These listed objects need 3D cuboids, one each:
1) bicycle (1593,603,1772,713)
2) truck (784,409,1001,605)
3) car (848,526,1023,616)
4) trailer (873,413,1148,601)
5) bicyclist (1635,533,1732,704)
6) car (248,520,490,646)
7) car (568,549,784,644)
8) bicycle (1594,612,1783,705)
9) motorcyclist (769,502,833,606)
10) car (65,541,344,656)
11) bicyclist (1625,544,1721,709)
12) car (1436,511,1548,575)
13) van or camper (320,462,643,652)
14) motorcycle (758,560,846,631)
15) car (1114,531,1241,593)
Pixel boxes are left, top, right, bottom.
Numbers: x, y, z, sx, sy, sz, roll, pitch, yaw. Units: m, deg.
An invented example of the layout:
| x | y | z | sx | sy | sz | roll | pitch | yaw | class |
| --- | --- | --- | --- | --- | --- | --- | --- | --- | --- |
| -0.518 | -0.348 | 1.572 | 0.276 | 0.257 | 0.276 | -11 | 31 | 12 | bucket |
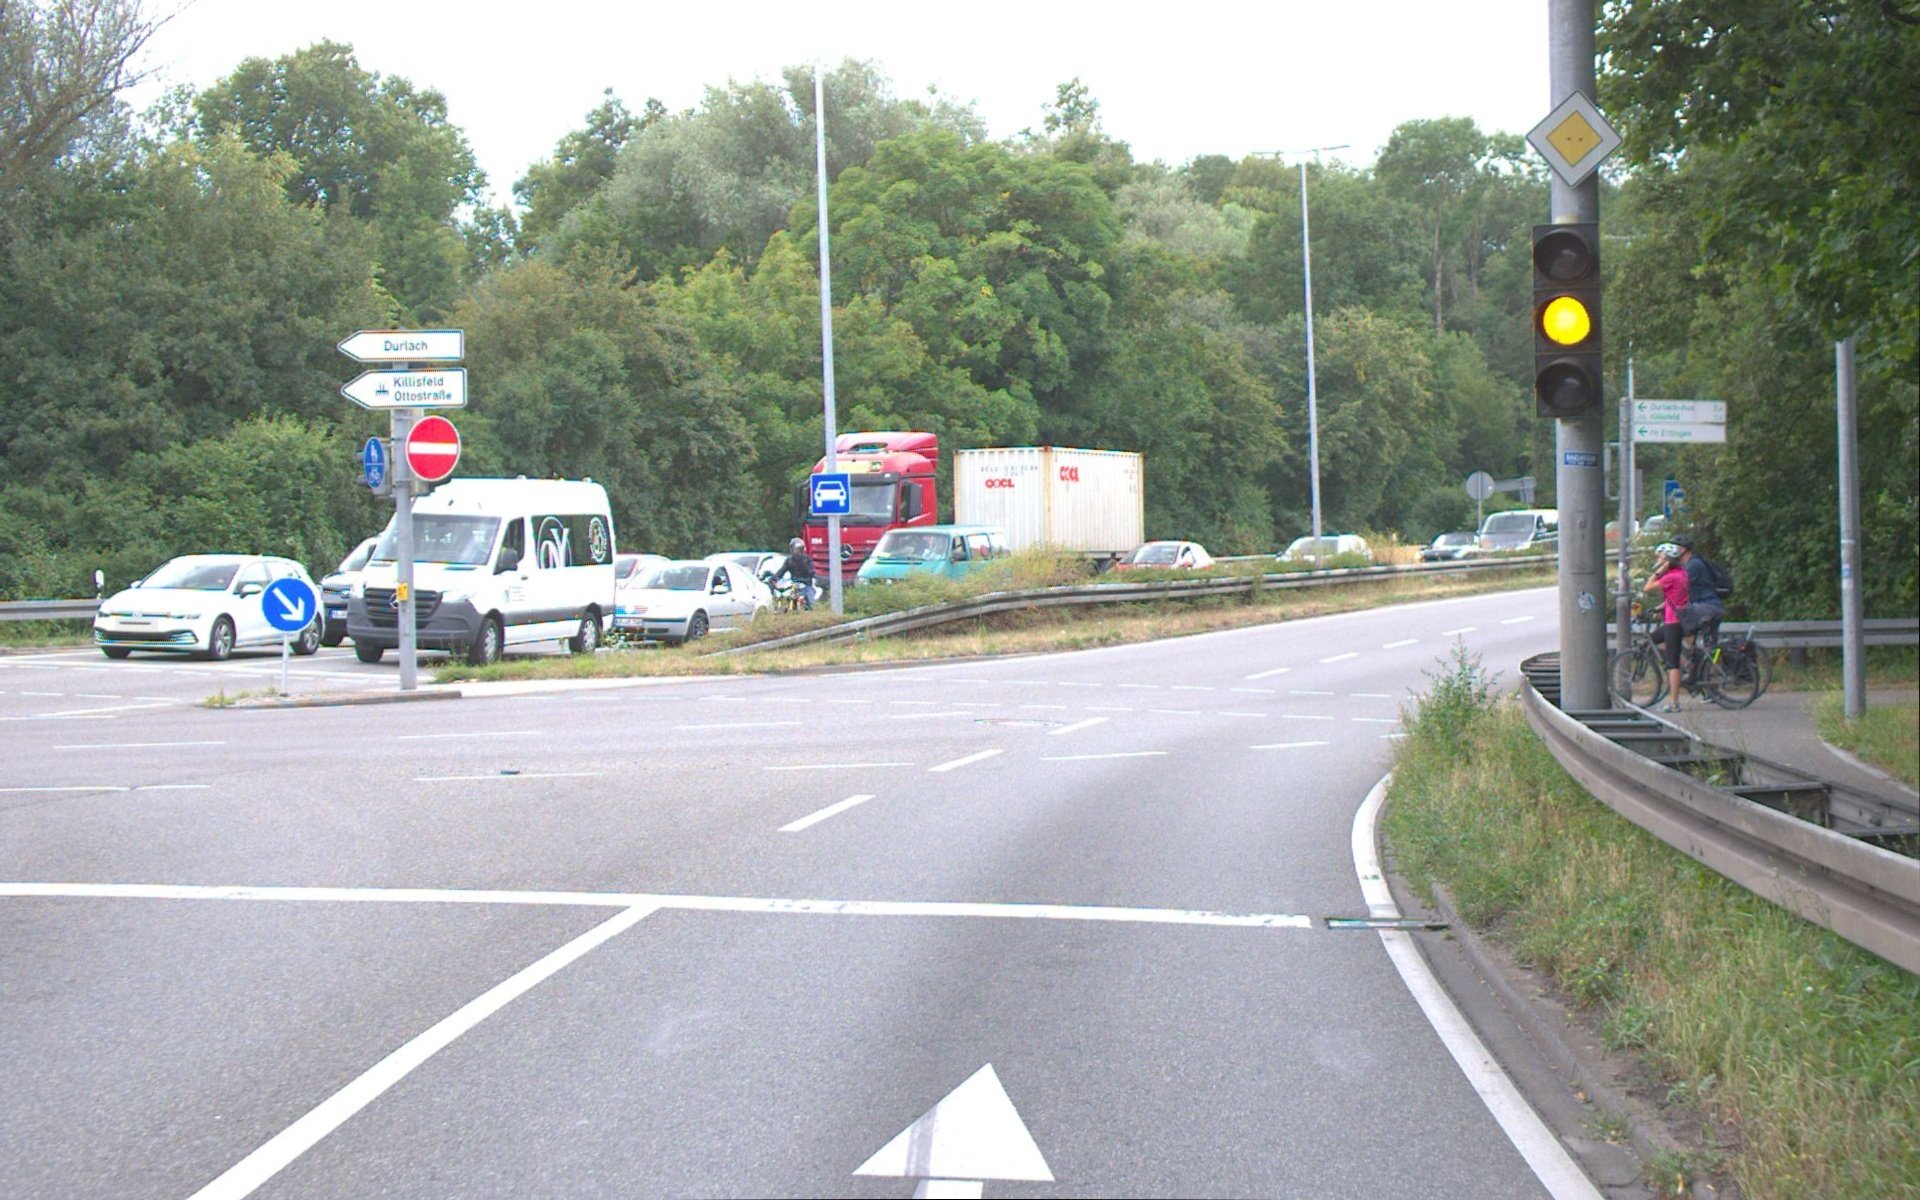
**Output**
| x | y | z | sx | sy | sz | roll | pitch | yaw | class |
| --- | --- | --- | --- | --- | --- | --- | --- | --- | --- |
| 7.657 | 0.616 | 36.443 | 1.744 | 1.134 | 0.630 | -1 | 0 | 26 | bicycle |
| -1.399 | -1.975 | 74.639 | 2.571 | 4.069 | 5.616 | 0 | 1 | 24 | truck |
| -0.431 | -0.598 | 68.560 | 1.806 | 1.723 | 4.955 | 0 | 1 | 21 | car |
| 1.365 | -2.126 | 80.935 | 2.538 | 4.133 | 10.758 | 0 | 1 | 24 | trailer |
| 7.966 | 0.201 | 37.871 | 0.949 | 1.837 | 0.664 | -2 | 0 | 9 | bicyclist |
| -9.245 | -0.292 | 54.129 | 1.995 | 1.896 | 4.163 | 0 | 1 | 19 | car |
| -4.608 | -0.084 | 56.431 | 1.995 | 1.493 | 4.396 | 0 | 1 | 18 | car |
| 8.009 | 0.645 | 37.852 | 1.972 | 0.938 | 0.661 | -2 | 0 | 10 | bicycle |
| -2.790 | -0.813 | 60.345 | 0.866 | 1.817 | 0.924 | 0 | 1 | 17 | motorcyclist |
| -10.662 | -0.056 | 48.842 | 1.995 | 1.541 | 4.535 | 0 | 1 | 15 | car |
| 7.566 | 0.277 | 36.481 | 0.852 | 1.726 | 0.636 | -1 | 0 | 26 | bicyclist |
| 15.951 | -1.700 | 102.948 | 2.012 | 1.857 | 5.271 | 0 | 1 | 24 | car |
| -6.837 | -0.632 | 50.052 | 2.162 | 2.580 | 6.491 | 0 | 1 | 17 | van or camper |
| -2.757 | -0.090 | 60.250 | 0.799 | 1.220 | 2.325 | 0 | 1 | 17 | motorcycle |
| 5.211 | -0.917 | 81.983 | 1.806 | 1.427 | 4.121 | 0 | 1 | 22 | car |
